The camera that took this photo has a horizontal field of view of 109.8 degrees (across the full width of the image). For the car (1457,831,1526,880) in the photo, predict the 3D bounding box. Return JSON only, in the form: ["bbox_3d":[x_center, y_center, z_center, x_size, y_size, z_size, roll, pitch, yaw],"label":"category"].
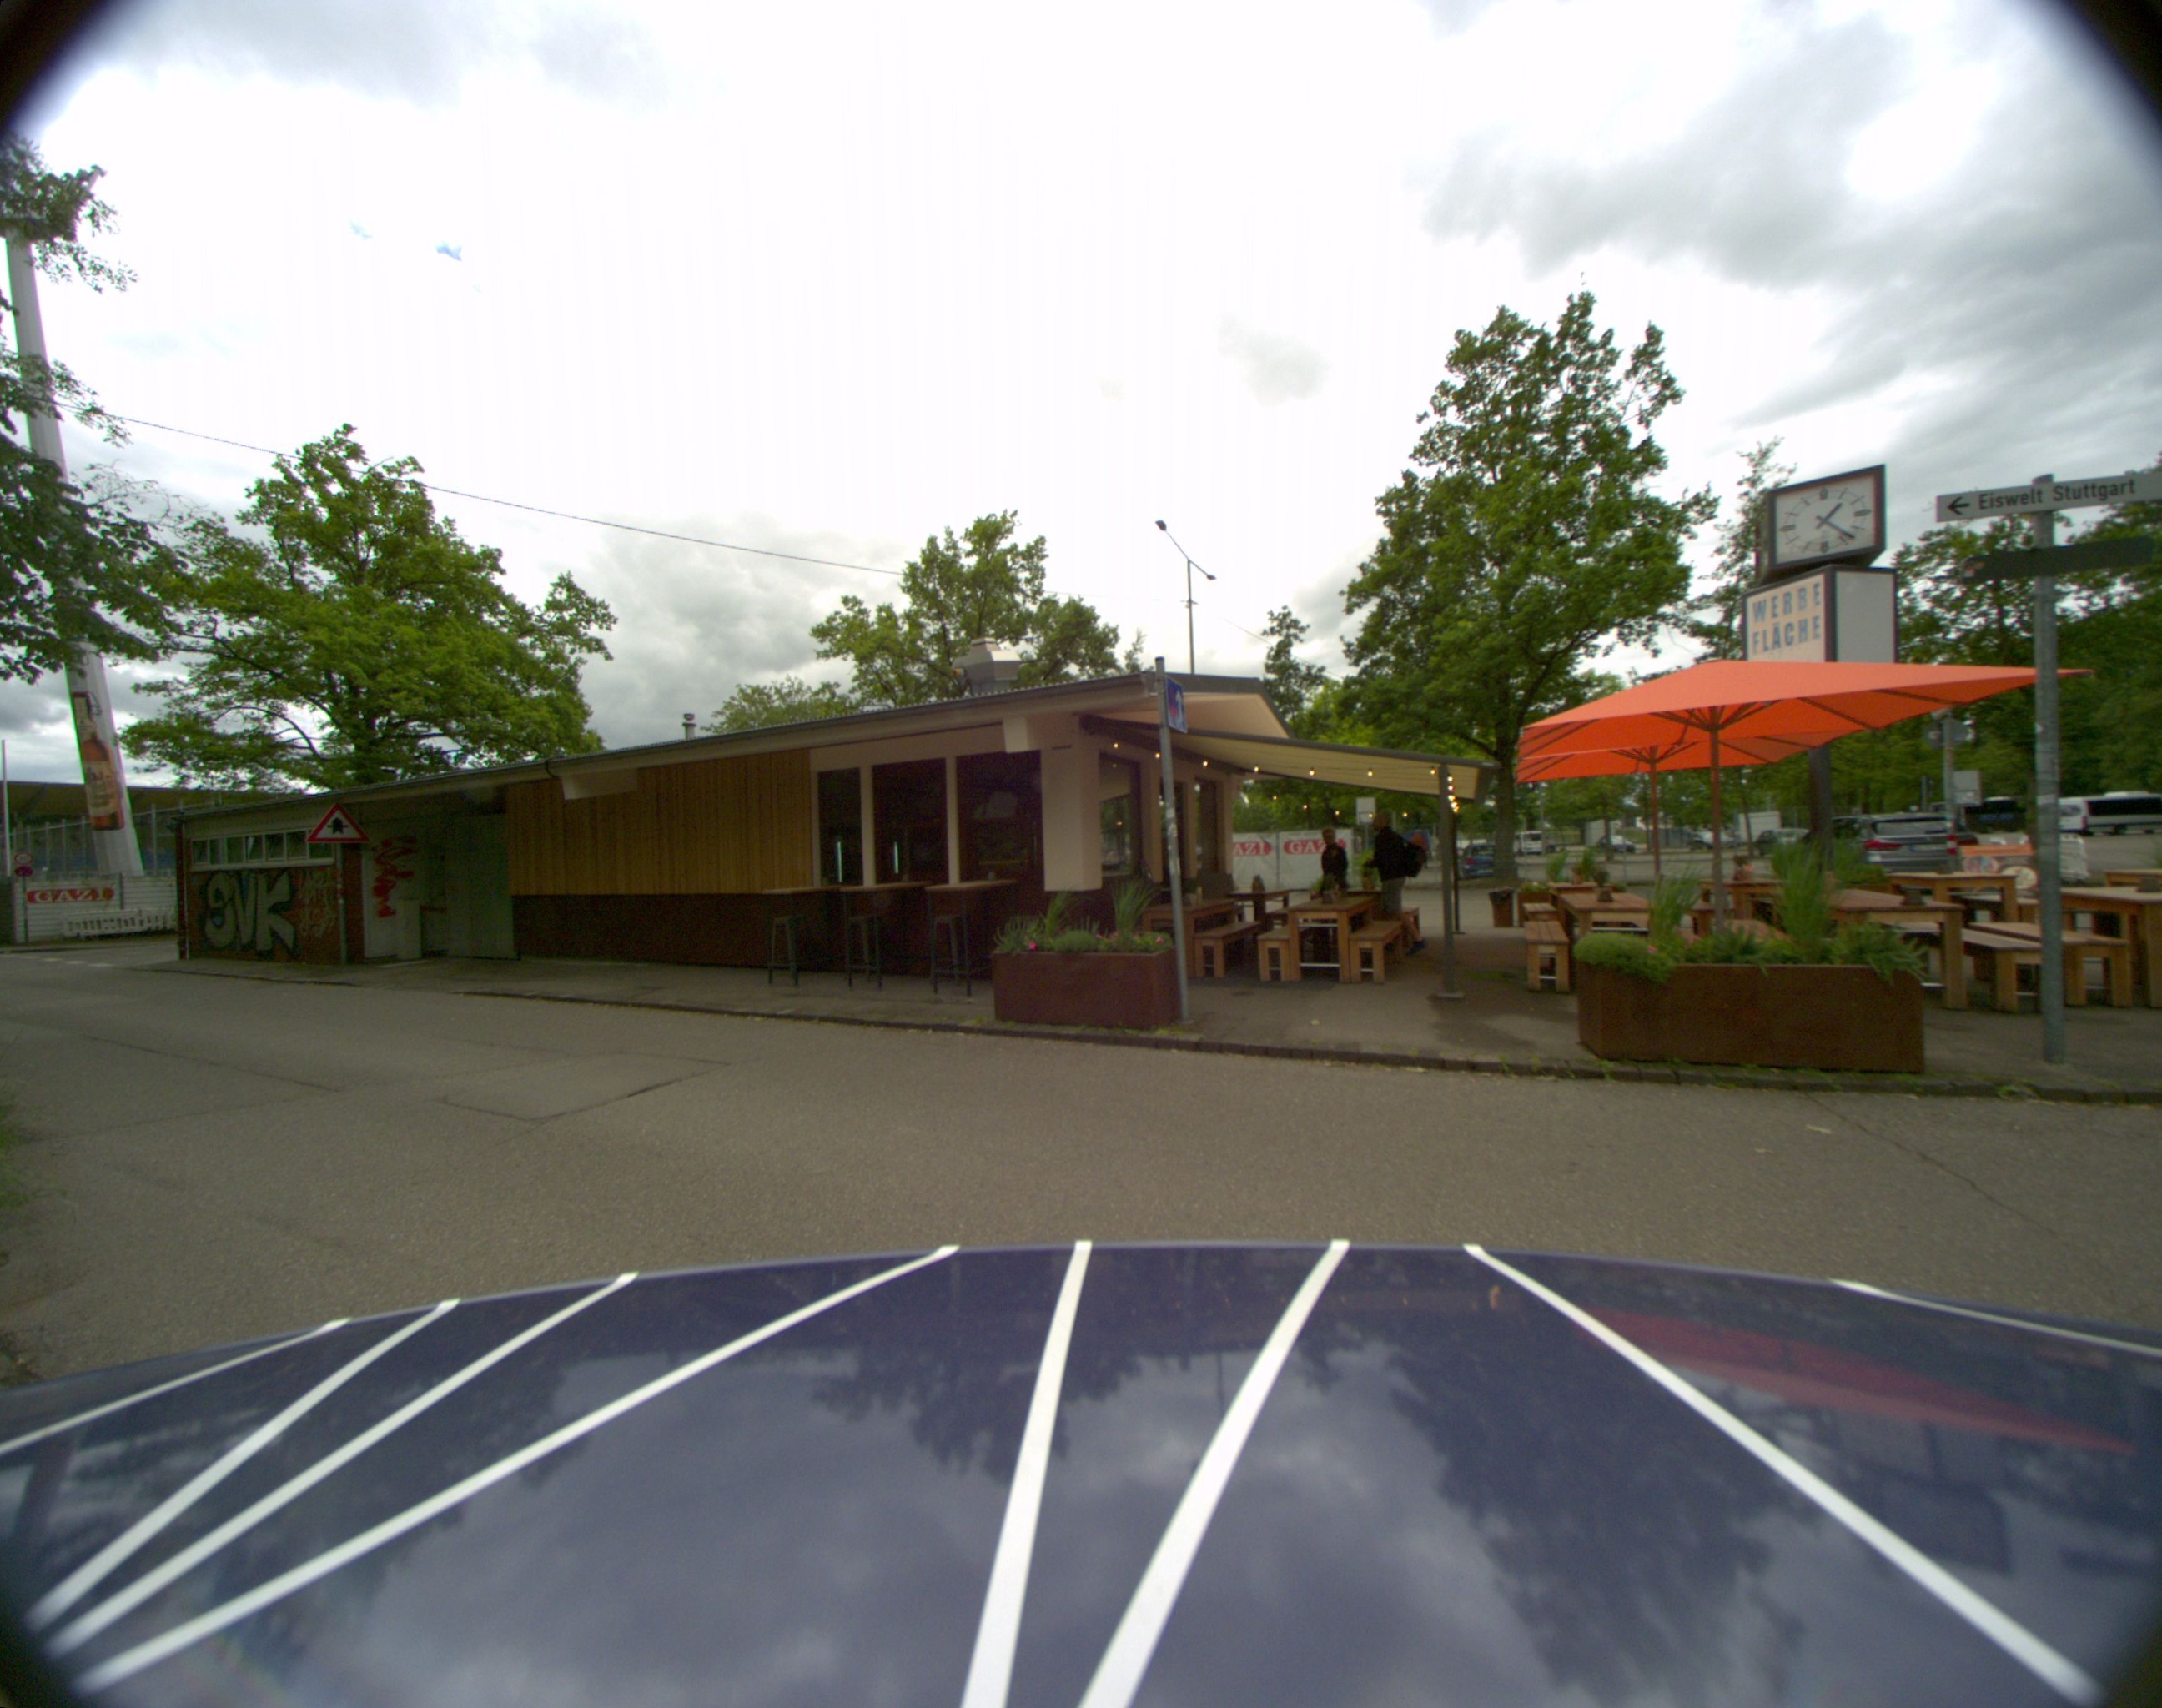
[{"bbox_3d":[14.596,0.026,27.201,1.995,1.543,4.006,-2,0,26],"label":"car"}]

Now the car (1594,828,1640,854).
[{"bbox_3d":[39.872,-0.977,56.612,1.873,1.769,4.302,-2,0,23],"label":"car"}]

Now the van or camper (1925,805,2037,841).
[{"bbox_3d":[83.157,-2.832,70.287,7.332,2.833,2.204,-3,1,4],"label":"van or camper"}]

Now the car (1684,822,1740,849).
[{"bbox_3d":[45.011,-1.310,54.264,1.873,1.769,4.302,-2,0,23],"label":"car"}]

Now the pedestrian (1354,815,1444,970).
[{"bbox_3d":[3.946,0.452,9.424,0.748,1.820,0.711,-2,1,45],"label":"pedestrian"}]

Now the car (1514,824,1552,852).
[{"bbox_3d":[35.034,-1.247,59.025,1.873,2.027,4.597,-2,0,23],"label":"car"}]

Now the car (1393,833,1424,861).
[{"bbox_3d":[24.722,-0.527,57.352,1.995,2.002,4.006,-2,0,23],"label":"car"}]

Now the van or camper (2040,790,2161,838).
[{"bbox_3d":[69.162,-2.679,50.932,7.336,2.833,2.068,-3,1,-3],"label":"van or camper"}]

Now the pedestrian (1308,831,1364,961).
[{"bbox_3d":[3.382,0.540,10.070,0.530,1.657,0.596,-2,1,30],"label":"pedestrian"}]

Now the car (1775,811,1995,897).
[{"bbox_3d":[18.118,-0.020,17.452,1.931,1.660,4.352,-2,0,24],"label":"car"}]
